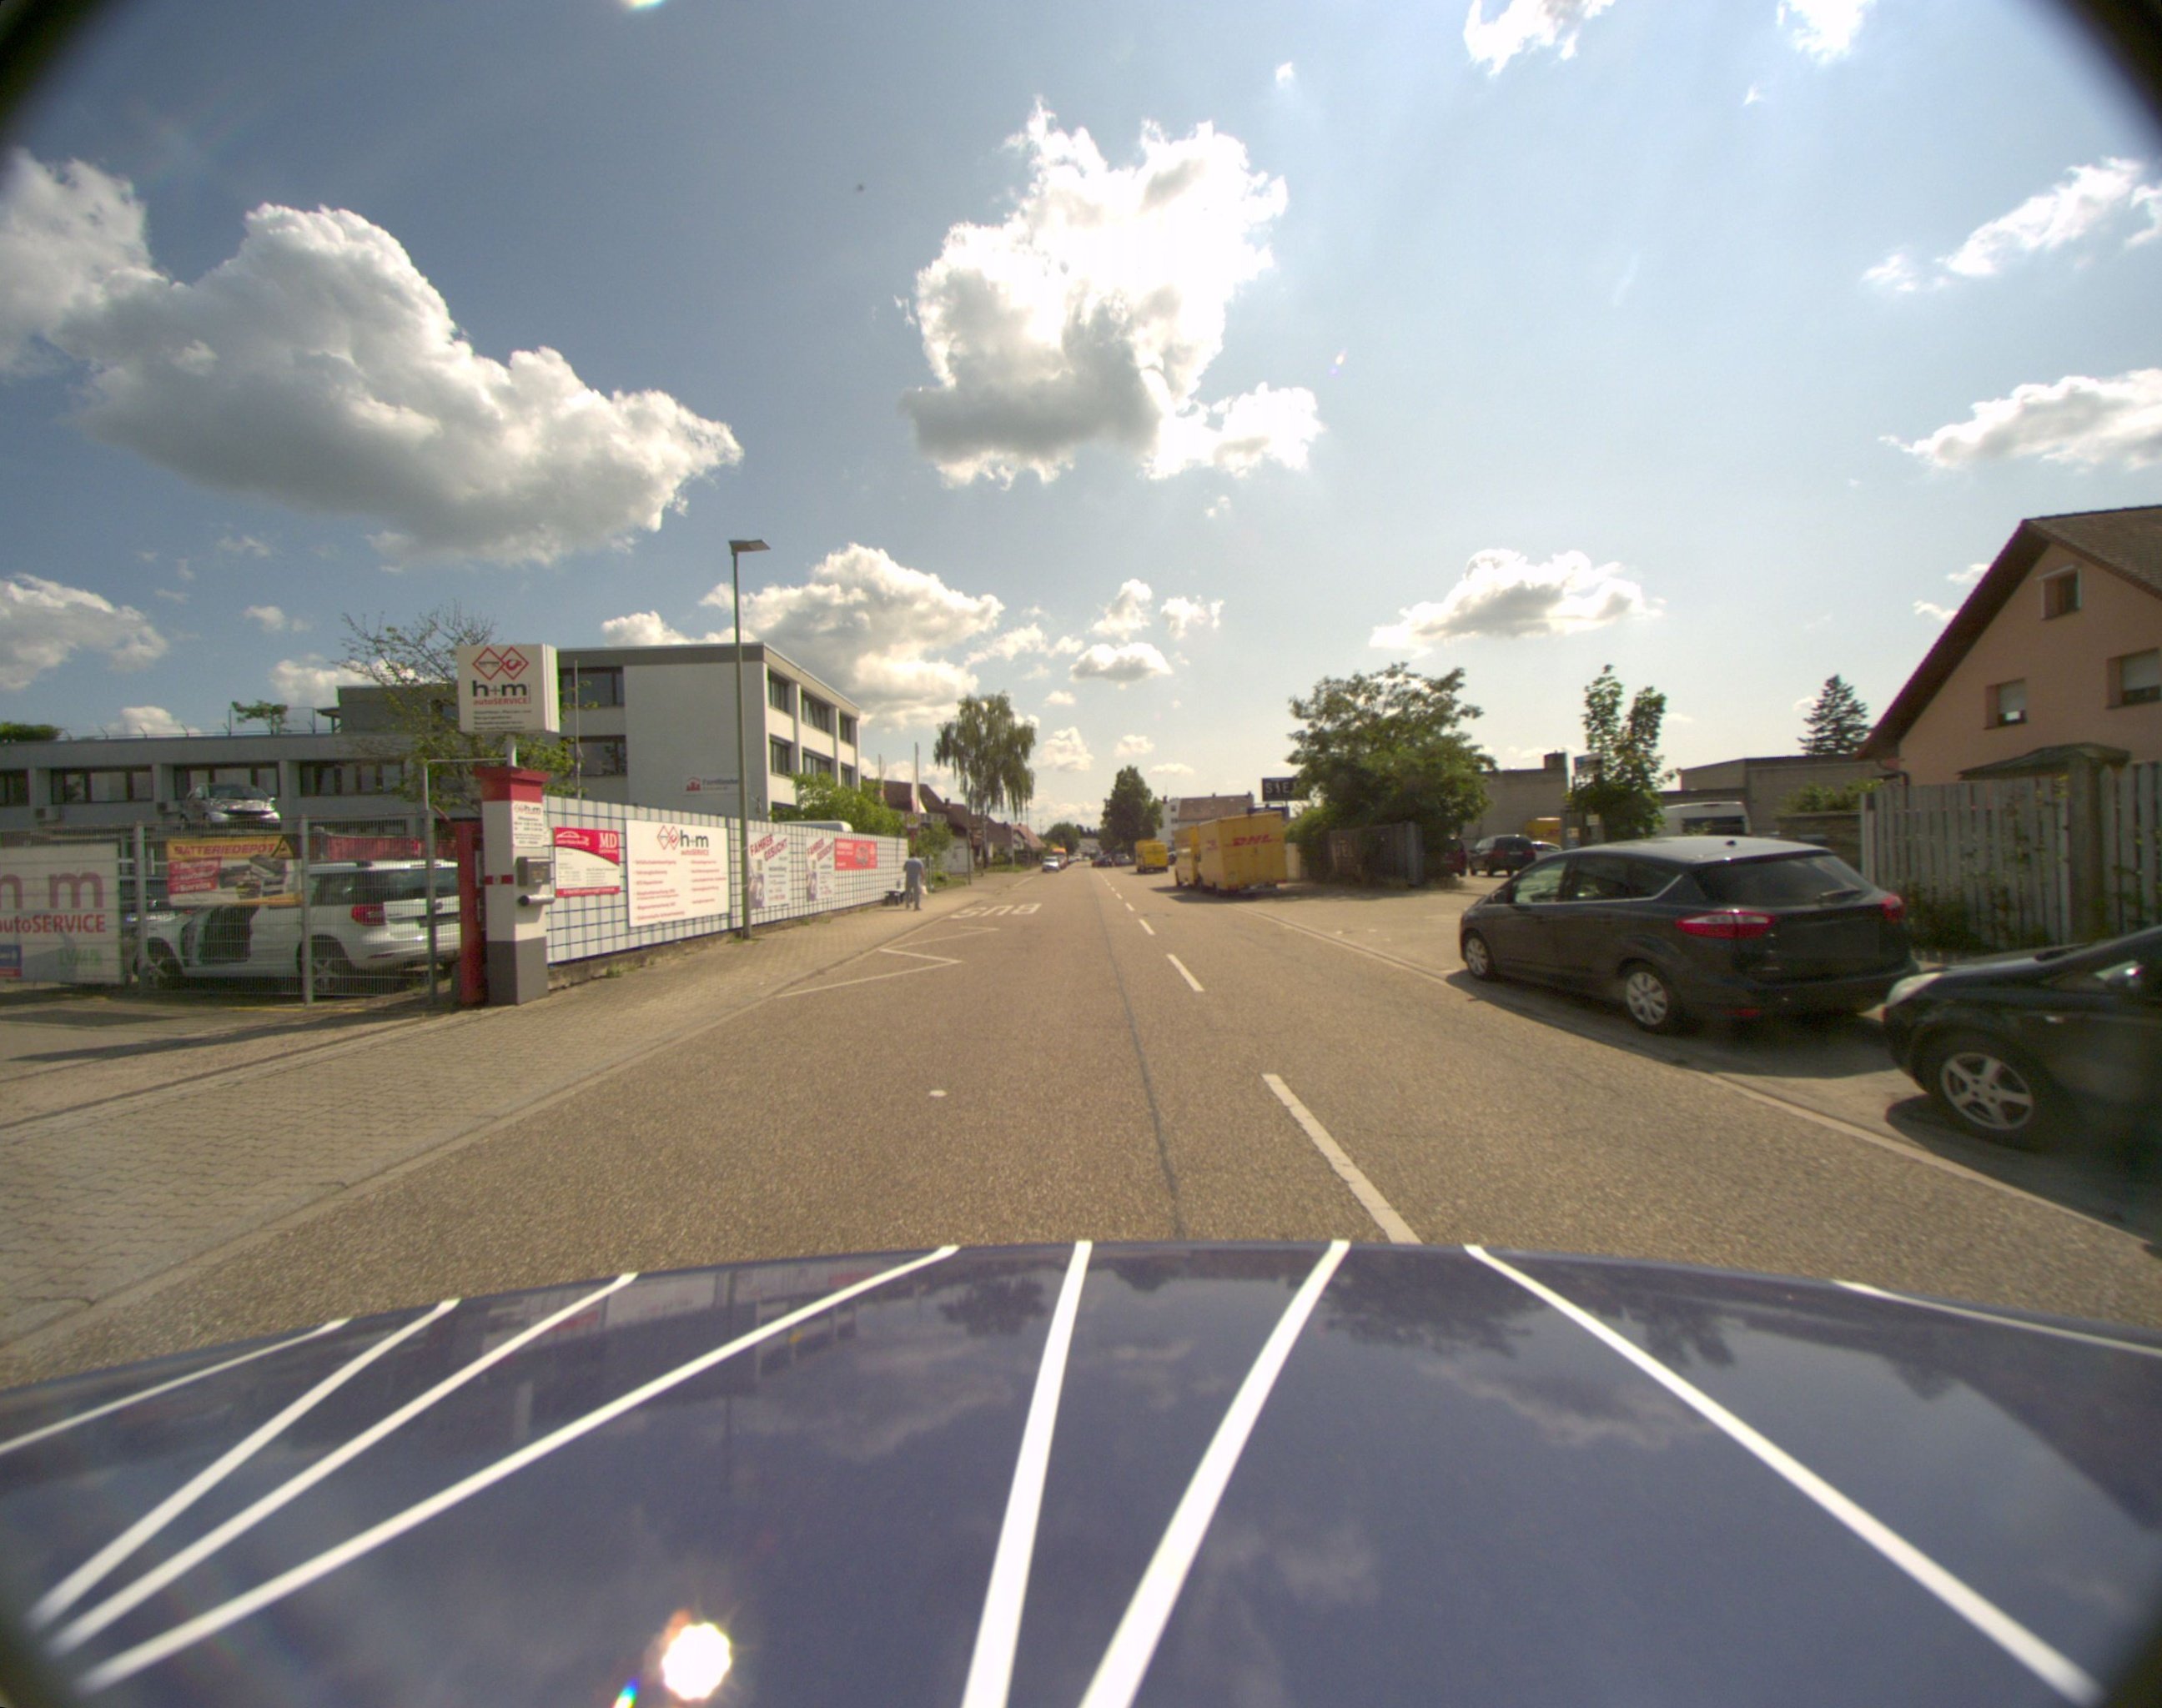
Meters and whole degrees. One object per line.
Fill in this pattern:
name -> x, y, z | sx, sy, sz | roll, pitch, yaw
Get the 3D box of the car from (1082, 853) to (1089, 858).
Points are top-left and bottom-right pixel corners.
car -> 1.449, 0.614, 239.398 | 1.818, 1.513, 4.267 | -1, 0, 6

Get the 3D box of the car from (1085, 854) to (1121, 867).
car -> 2.617, 0.827, 93.279 | 2.003, 1.386, 4.582 | -4, 1, -35

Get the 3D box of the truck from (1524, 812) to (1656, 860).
truck -> 31.637, -1.068, 47.486 | 6.426, 2.749, 2.327 | -1, 1, 14

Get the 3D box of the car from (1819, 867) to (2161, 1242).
car -> 5.470, 0.896, 2.703 | 1.632, 1.440, 4.026 | -6, 0, -1

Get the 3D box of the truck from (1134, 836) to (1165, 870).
truck -> 6.127, -0.106, 68.990 | 2.226, 2.840, 7.069 | -4, 0, 2

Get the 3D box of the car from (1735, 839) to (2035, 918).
car -> 16.902, 0.524, 16.293 | 3.990, 1.506, 1.899 | -2, -1, 26

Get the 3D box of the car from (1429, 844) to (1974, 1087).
car -> 5.478, 0.788, 7.665 | 1.729, 1.595, 4.413 | -5, 0, -1

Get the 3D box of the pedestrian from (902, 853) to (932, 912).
pedestrian -> -4.850, 0.844, 22.474 | 0.717, 1.687, 0.522 | 3, 1, -4

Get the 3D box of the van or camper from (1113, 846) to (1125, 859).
van or camper -> 7.083, -0.307, 140.535 | 1.998, 2.303, 5.934 | -5, 0, 3

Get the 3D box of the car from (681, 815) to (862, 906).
car -> -9.781, 0.188, 24.427 | 4.922, 2.636, 2.072 | -2, 1, -7

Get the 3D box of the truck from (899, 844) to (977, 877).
truck -> -12.322, 0.521, 65.713 | 6.067, 2.562, 2.561 | -3, 1, -26

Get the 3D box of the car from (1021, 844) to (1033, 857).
car -> -8.395, -0.501, 117.867 | 1.862, 1.855, 5.018 | -2, 0, -4

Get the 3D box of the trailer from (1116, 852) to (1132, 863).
trailer -> 5.739, 0.399, 101.765 | 1.766, 1.282, 4.508 | -5, 0, 1

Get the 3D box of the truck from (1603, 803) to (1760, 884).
truck -> 20.720, -0.355, 26.600 | 2.114, 2.473, 5.726 | -2, 0, 14

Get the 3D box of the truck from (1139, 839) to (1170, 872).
truck -> 5.941, 0.101, 61.845 | 1.998, 2.399, 6.064 | -4, 0, 2

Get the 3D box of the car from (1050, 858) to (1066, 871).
car -> -2.618, 1.228, 88.813 | 1.673, 1.327, 4.437 | -2, 0, 0

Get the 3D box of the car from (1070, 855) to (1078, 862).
car -> -1.794, 1.066, 194.141 | 1.896, 1.763, 4.708 | -2, 0, 0

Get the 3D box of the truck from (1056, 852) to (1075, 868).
truck -> -2.313, 0.861, 115.297 | 2.528, 2.286, 5.895 | -4, 0, 1

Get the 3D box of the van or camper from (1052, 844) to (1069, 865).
van or camper -> -2.716, 0.000, 101.298 | 1.999, 2.648, 5.768 | -2, 0, -1

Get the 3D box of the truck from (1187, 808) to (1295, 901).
truck -> 5.678, -0.009, 28.156 | 2.322, 2.846, 7.104 | -4, 0, 0

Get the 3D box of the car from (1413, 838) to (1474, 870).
car -> 16.220, 0.015, 34.160 | 1.812, 1.297, 3.873 | -1, 0, 15

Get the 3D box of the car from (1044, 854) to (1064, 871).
car -> -2.725, 0.811, 77.464 | 1.614, 1.571, 4.000 | -3, 0, 2

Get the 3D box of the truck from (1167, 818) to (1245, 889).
truck -> 5.651, -0.010, 35.364 | 2.275, 2.838, 7.174 | -3, 0, 0

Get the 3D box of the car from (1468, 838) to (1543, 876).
car -> 18.172, 0.113, 32.717 | 1.768, 1.504, 3.921 | -2, 0, 13

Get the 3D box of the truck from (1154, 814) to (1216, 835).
truck -> 16.008, -4.591, 117.657 | 9.278, 2.839, 2.721 | -1, 0, 5
